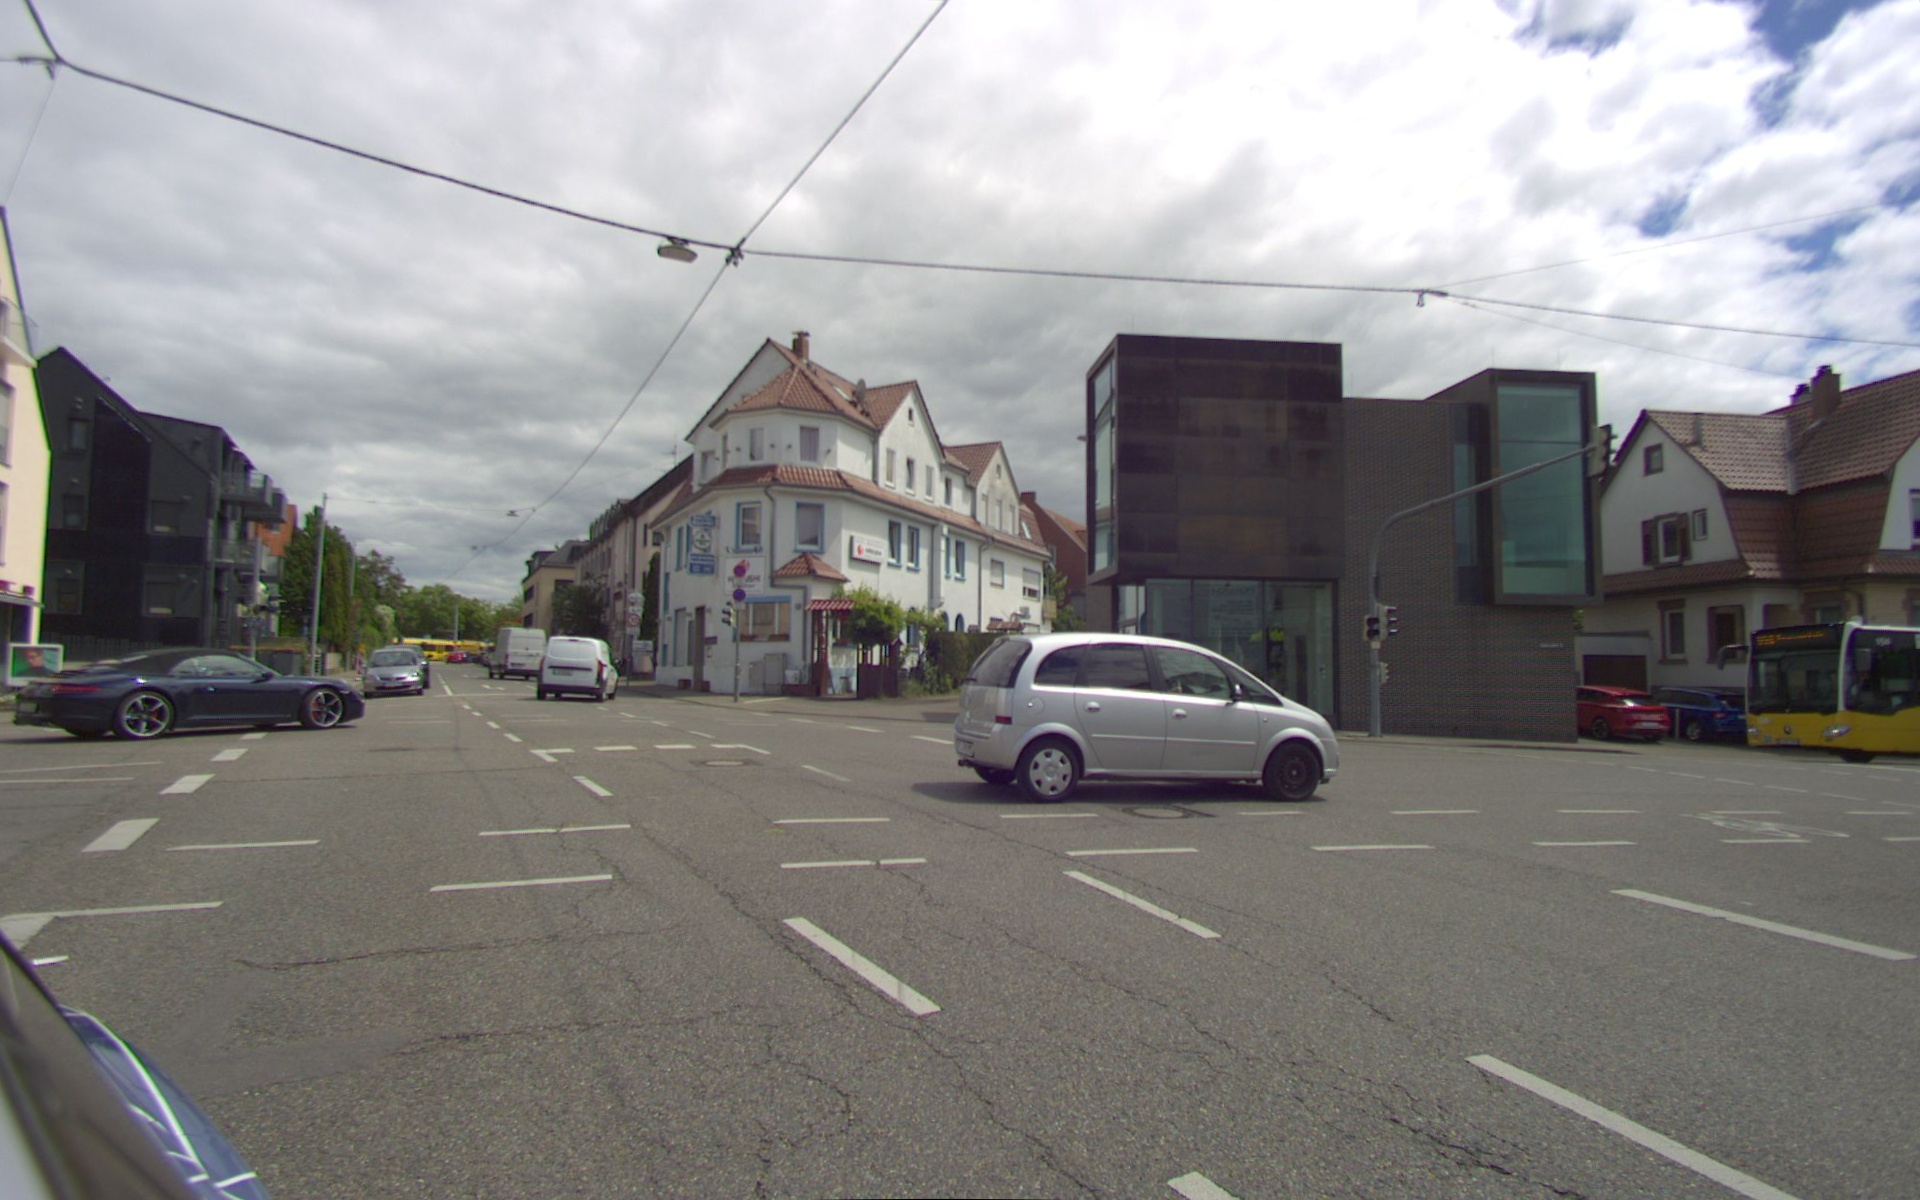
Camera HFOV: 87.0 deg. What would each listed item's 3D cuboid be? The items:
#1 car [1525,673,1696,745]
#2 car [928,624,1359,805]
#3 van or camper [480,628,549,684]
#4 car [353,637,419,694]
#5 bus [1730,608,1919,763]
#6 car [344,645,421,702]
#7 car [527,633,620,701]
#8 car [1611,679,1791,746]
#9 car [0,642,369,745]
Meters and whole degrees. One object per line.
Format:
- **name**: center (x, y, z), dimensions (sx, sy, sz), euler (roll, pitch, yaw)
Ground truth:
- **car**: center (18.626, 3.082, 29.216), dimensions (1.968, 1.652, 4.007), euler (2, -1, -8)
- **car**: center (1.826, 1.130, 10.371), dimensions (3.933, 1.587, 1.780), euler (2, -4, -17)
- **van or camper**: center (-22.645, 2.858, 51.318), dimensions (2.079, 2.606, 5.660), euler (6, -6, -33)
- **car**: center (-21.592, 2.457, 38.137), dimensions (1.965, 2.029, 4.012), euler (3, -4, -29)
- **bus**: center (22.257, 1.899, 22.126), dimensions (9.049, 3.084, 2.790), euler (2, -3, -6)
- **car**: center (-18.531, 2.319, 32.609), dimensions (1.965, 1.697, 4.012), euler (3, -4, -28)
- **car**: center (-11.243, 2.013, 29.721), dimensions (1.792, 1.826, 4.428), euler (2, -5, -11)
- **car**: center (21.576, 3.236, 29.686), dimensions (1.968, 1.697, 4.007), euler (2, -3, -8)
- **car**: center (-11.630, 1.338, 15.259), dimensions (1.992, 1.292, 4.259), euler (-1, -4, 30)
